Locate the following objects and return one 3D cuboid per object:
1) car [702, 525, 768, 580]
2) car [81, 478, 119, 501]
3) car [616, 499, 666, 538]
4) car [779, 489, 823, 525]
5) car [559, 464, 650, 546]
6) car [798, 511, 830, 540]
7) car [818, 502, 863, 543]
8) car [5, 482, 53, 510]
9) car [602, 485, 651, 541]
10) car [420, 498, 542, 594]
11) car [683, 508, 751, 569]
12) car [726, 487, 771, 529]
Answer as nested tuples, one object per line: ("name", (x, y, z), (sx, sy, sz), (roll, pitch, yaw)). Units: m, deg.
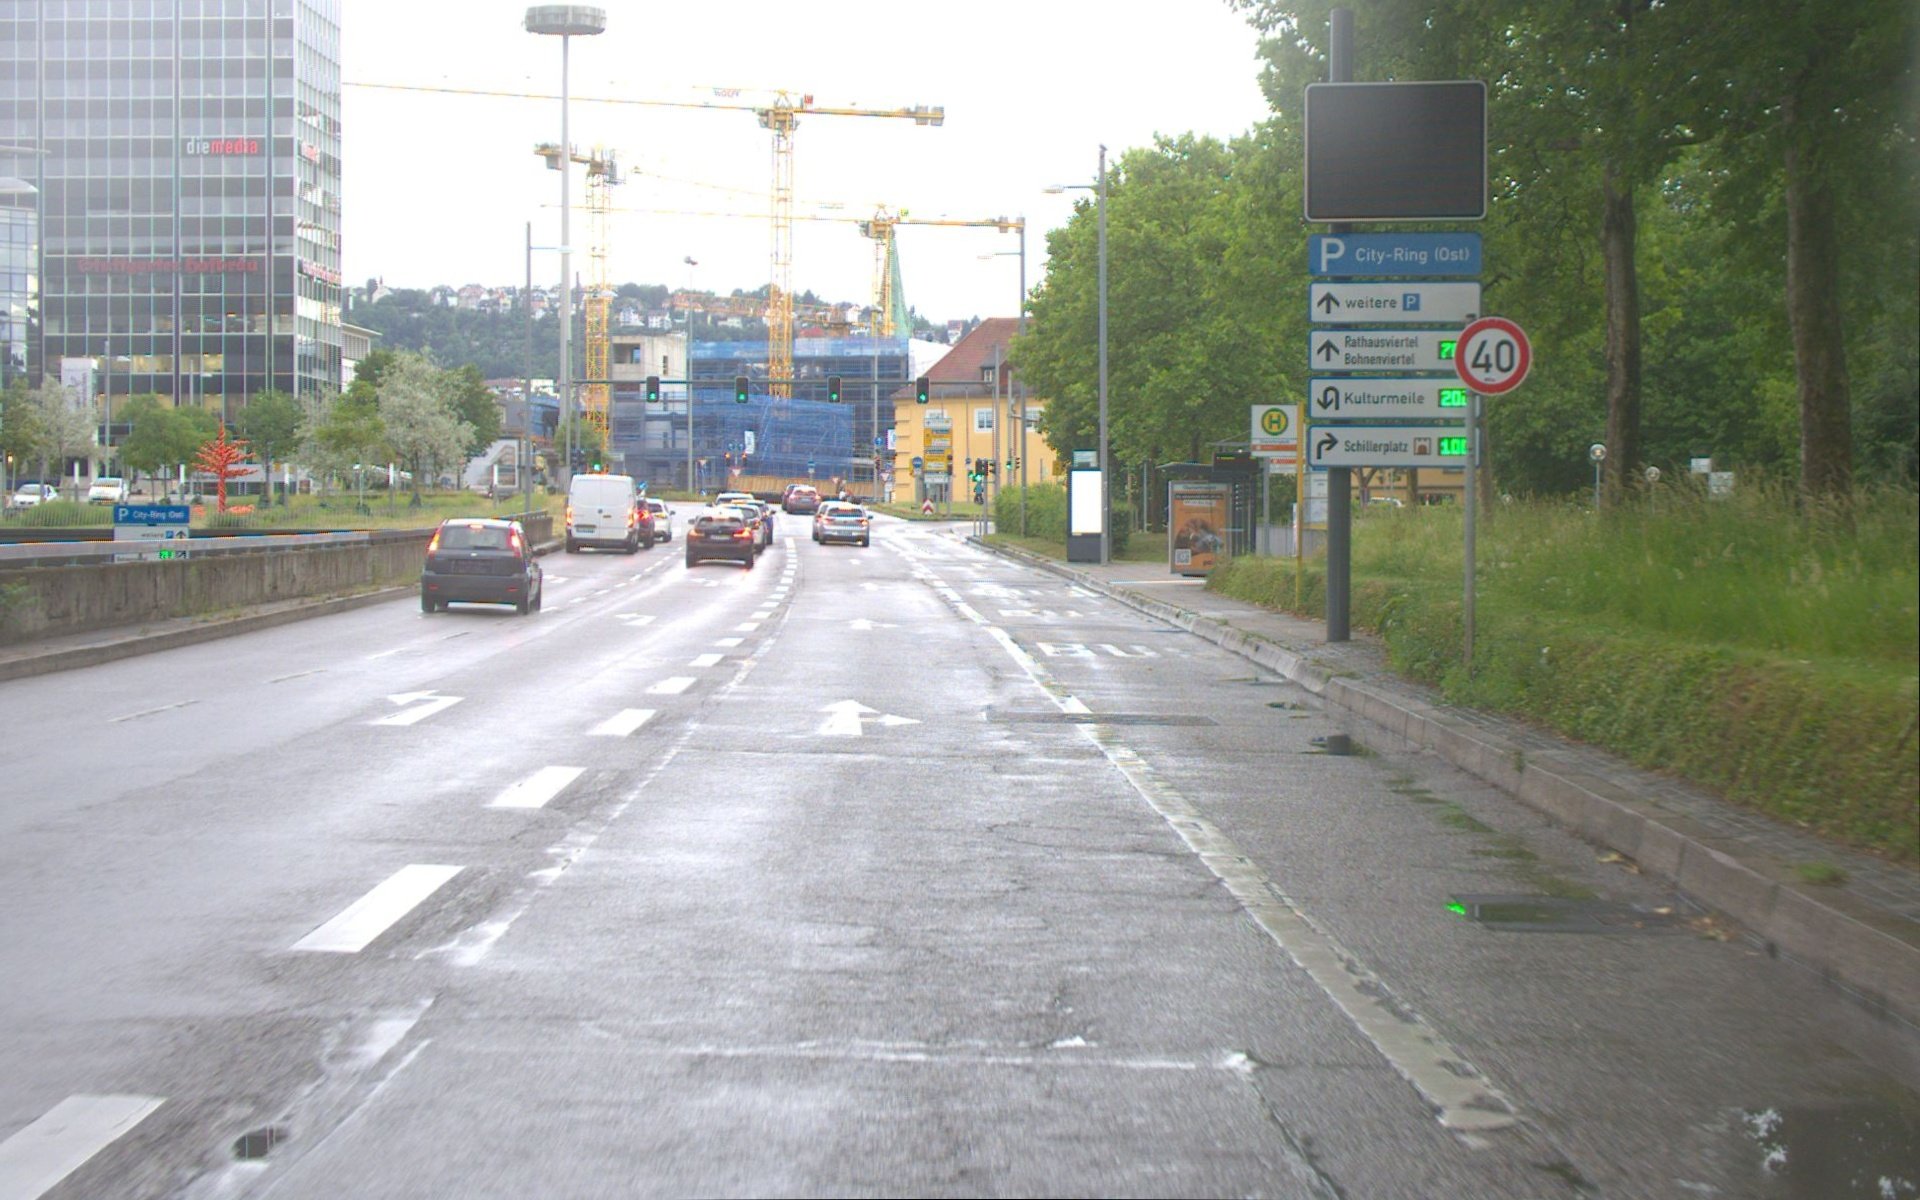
("car", (-7.011, -1.475, 106.897), (1.880, 1.647, 3.458), (1, 1, -5))
("car", (-46.353, -5.947, 185.393), (1.440, 1.110, 3.021), (1, 1, -3))
("car", (-10.999, -2.803, 118.631), (1.551, 1.256, 2.581), (1, 1, -3))
("car", (-8.665, -5.059, 187.648), (2.161, 1.873, 3.770), (2, 1, 0))
("car", (-10.557, -2.799, 102.419), (2.292, 2.306, 5.006), (1, 1, -2))
("car", (-5.383, -2.755, 126.908), (1.076, 0.987, 1.972), (2, 0, 0))
("car", (-4.183, -2.702, 120.406), (1.444, 1.354, 2.412), (2, 1, 0))
("car", (-44.606, -4.989, 164.768), (1.408, 1.250, 3.166), (2, 1, 0))
("car", (-10.566, -2.731, 108.963), (1.464, 1.700, 3.142), (1, 1, -5))
("car", (-7.425, -0.841, 53.586), (1.542, 1.410, 3.902), (1, 1, -3))
("car", (-6.495, -1.660, 92.034), (1.753, 1.466, 4.223), (1, 2, -4))
("car", (-7.325, -3.174, 118.979), (1.493, 1.365, 3.034), (1, 1, -3))
